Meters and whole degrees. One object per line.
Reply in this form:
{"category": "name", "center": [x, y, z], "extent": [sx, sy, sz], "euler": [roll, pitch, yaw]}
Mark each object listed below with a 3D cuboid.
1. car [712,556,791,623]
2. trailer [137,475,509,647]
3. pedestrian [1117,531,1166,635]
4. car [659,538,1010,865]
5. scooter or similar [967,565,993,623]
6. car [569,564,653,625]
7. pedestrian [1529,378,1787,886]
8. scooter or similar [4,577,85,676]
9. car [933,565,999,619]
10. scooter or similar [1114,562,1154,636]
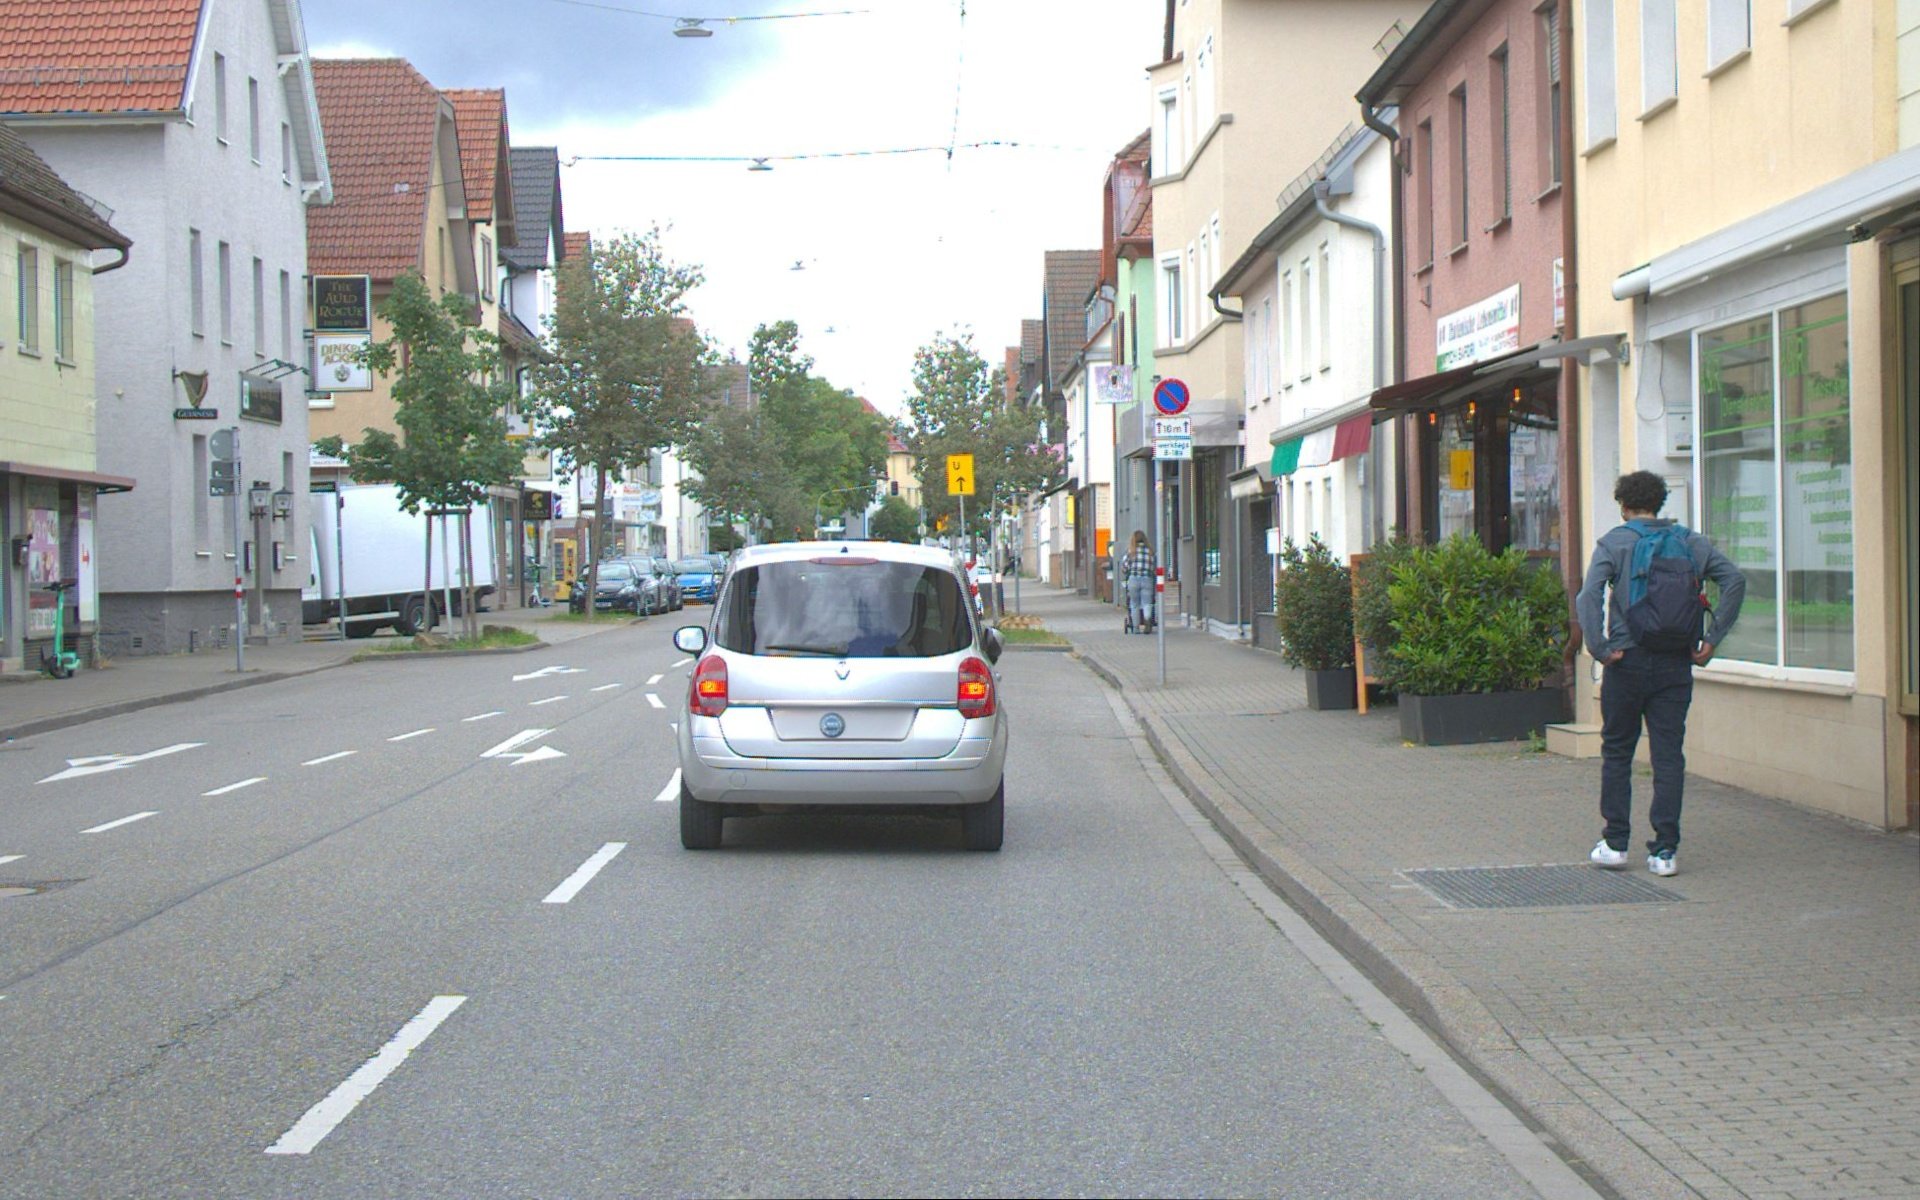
{"category": "car", "center": [-5.844, -0.306, 96.811], "extent": [1.993, 1.790, 4.277], "euler": [-1, 1, -1]}
{"category": "trailer", "center": [-12.408, -0.746, 67.518], "extent": [2.509, 3.208, 7.117], "euler": [1, 1, 41]}
{"category": "pedestrian", "center": [3.018, -0.287, 57.267], "extent": [0.750, 1.714, 0.900], "euler": [1, 0, 0]}
{"category": "car", "center": [-0.604, 0.473, 18.768], "extent": [1.682, 1.560, 3.993], "euler": [1, 1, 0]}
{"category": "scooter or similar", "center": [0.438, -0.139, 75.166], "extent": [0.502, 1.231, 1.942], "euler": [1, 1, -1]}
{"category": "car", "center": [-8.570, -0.164, 84.667], "extent": [1.682, 1.420, 3.931], "euler": [-2, 1, -1]}
{"category": "pedestrian", "center": [2.984, 0.130, 14.796], "extent": [0.824, 2.067, 1.011], "euler": [-3, 0, 2]}
{"category": "scooter or similar", "center": [-11.150, 0.313, 41.895], "extent": [0.528, 1.166, 1.722], "euler": [1, 1, -1]}
{"category": "car", "center": [0.177, -0.245, 97.865], "extent": [1.831, 1.441, 4.332], "euler": [1, 1, 0]}
{"category": "scooter or similar", "center": [2.945, -0.018, 58.225], "extent": [0.589, 1.228, 0.891], "euler": [1, 0, -1]}
